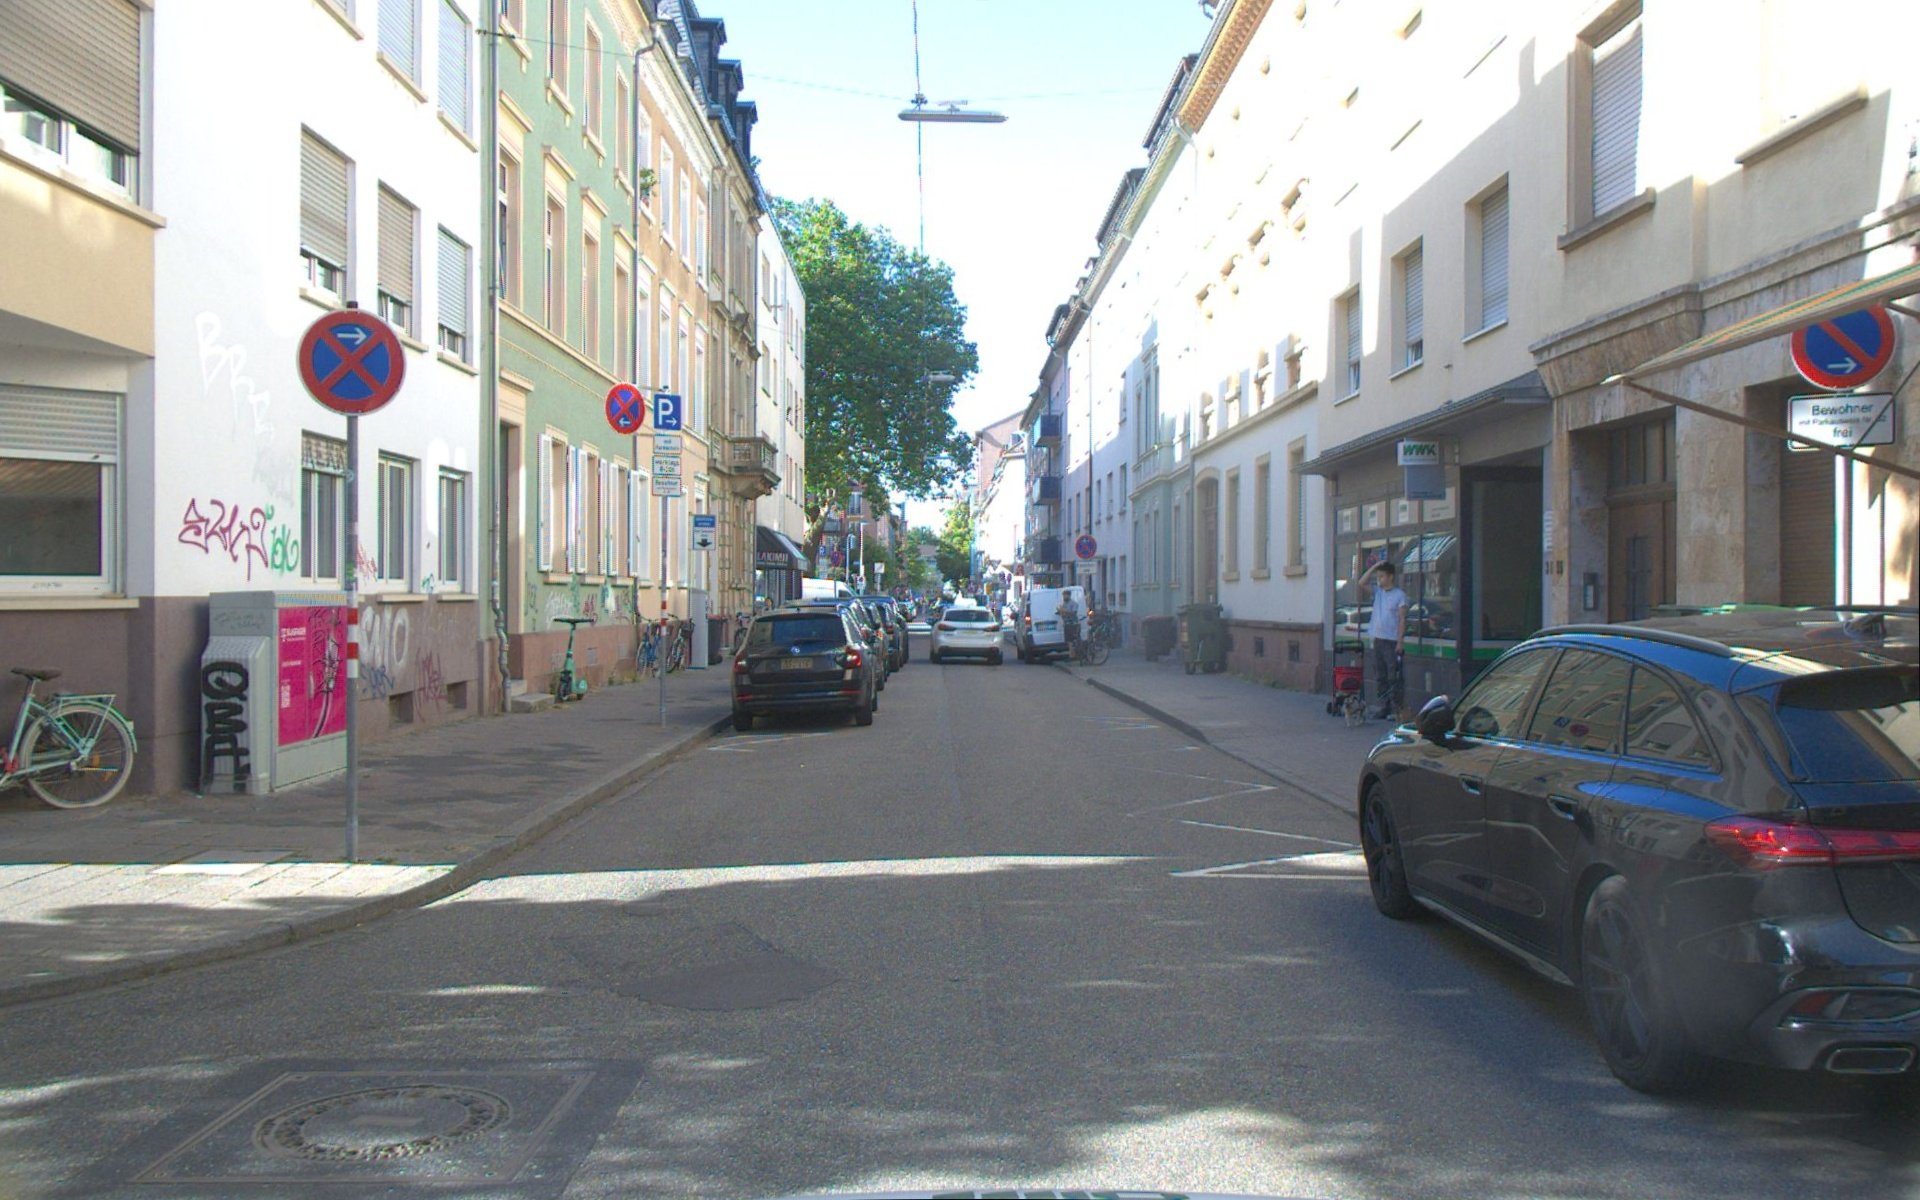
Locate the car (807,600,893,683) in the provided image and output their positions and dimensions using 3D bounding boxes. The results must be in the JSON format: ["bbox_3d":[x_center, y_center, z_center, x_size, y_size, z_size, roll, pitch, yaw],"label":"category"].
[{"bbox_3d":[-2.171,0.792,33.445,1.583,1.581,3.976,0,0,-2],"label":"car"}]

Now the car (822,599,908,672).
[{"bbox_3d":[-2.146,0.784,38.213,1.678,1.558,4.367,-1,0,1],"label":"car"}]

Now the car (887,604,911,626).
[{"bbox_3d":[-4.589,1.134,124.513,1.734,1.616,3.725,0,1,-2],"label":"car"}]

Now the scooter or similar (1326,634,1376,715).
[{"bbox_3d":[4.867,0.921,20.625,0.480,0.961,0.869,-1,1,6],"label":"scooter or similar"}]

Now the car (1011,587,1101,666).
[{"bbox_3d":[2.546,0.671,45.154,1.943,1.916,5.598,-3,0,-1],"label":"car"}]

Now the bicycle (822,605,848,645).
[{"bbox_3d":[-4.430,0.898,58.792,0.455,1.354,1.855,4,-2,7],"label":"bicycle"}]

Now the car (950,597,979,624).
[{"bbox_3d":[0.333,0.817,127.831,1.904,1.982,4.075,1,0,-3],"label":"car"}]

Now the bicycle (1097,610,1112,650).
[{"bbox_3d":[4.569,0.949,52.241,0.428,1.227,2.267,0,-1,6],"label":"bicycle"}]

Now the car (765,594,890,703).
[{"bbox_3d":[-2.130,0.738,27.650,1.708,1.643,4.602,-1,0,0],"label":"car"}]

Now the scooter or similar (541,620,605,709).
[{"bbox_3d":[-5.460,0.891,23.391,0.444,1.202,1.691,0,-1,2],"label":"scooter or similar"}]

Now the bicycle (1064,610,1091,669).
[{"bbox_3d":[2.771,0.917,39.194,0.563,1.344,2.200,-1,0,3],"label":"bicycle"}]

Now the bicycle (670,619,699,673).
[{"bbox_3d":[-5.614,0.932,33.732,0.394,1.074,1.835,0,-1,-4],"label":"bicycle"}]

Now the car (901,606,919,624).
[{"bbox_3d":[-4.716,1.423,156.728,1.540,1.613,3.610,0,-1,0],"label":"car"}]

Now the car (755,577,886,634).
[{"bbox_3d":[-7.341,0.298,87.708,6.601,2.599,2.146,3,-1,1],"label":"car"}]

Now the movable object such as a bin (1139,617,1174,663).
[{"bbox_3d":[4.763,0.959,40.080,0.796,1.107,0.674,0,-1,1],"label":"movable object such as a bin"}]

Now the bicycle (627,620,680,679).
[{"bbox_3d":[-5.620,0.899,30.382,0.353,1.046,1.919,0,-1,8],"label":"bicycle"}]

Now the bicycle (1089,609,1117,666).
[{"bbox_3d":[3.405,0.874,39.529,0.563,1.293,2.200,-2,0,3],"label":"bicycle"}]

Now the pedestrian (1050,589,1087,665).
[{"bbox_3d":[2.721,0.678,41.574,0.848,1.869,0.883,0,-1,-3],"label":"pedestrian"}]

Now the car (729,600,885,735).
[{"bbox_3d":[-1.904,0.802,21.795,1.679,1.514,4.850,-2,0,-2],"label":"car"}]

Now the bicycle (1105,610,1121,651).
[{"bbox_3d":[4.708,0.929,50.908,0.397,1.227,2.160,0,-1,2],"label":"bicycle"}]

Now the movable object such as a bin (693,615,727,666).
[{"bbox_3d":[-5.598,0.904,37.061,0.721,1.108,0.682,0,1,-5],"label":"movable object such as a bin"}]

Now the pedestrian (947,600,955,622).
[{"bbox_3d":[-0.876,1.057,157.796,0.755,2.155,0.834,0,-1,0],"label":"pedestrian"}]

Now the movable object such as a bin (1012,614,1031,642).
[{"bbox_3d":[2.423,1.094,65.096,0.717,1.100,0.703,0,-1,0],"label":"movable object such as a bin"}]

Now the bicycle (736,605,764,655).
[{"bbox_3d":[-5.540,0.790,43.681,0.500,1.299,1.867,0,-1,0],"label":"bicycle"}]

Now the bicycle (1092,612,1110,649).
[{"bbox_3d":[4.540,0.974,53.329,0.556,1.174,1.869,0,-1,4],"label":"bicycle"}]

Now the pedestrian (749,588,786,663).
[{"bbox_3d":[-4.596,0.604,39.531,0.749,1.744,0.883,2,0,-2],"label":"pedestrian"}]

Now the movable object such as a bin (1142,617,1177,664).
[{"bbox_3d":[4.751,0.968,39.408,0.780,1.115,0.642,0,-1,1],"label":"movable object such as a bin"}]

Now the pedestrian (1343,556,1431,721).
[{"bbox_3d":[5.072,0.446,19.669,0.639,1.892,0.743,-2,0,-23],"label":"pedestrian"}]

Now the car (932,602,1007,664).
[{"bbox_3d":[0.204,0.823,42.641,1.787,1.540,3.822,0,0,-2],"label":"car"}]

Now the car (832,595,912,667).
[{"bbox_3d":[-2.269,0.778,43.729,1.897,1.766,5.141,-1,0,-1],"label":"car"}]

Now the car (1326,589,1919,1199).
[{"bbox_3d":[2.963,0.805,6.758,1.764,1.606,4.896,1,0,-1],"label":"car"}]

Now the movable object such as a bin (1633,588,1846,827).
[{"bbox_3d":[5.145,0.672,11.012,0.731,1.461,1.372,-2,0,1],"label":"movable object such as a bin"}]

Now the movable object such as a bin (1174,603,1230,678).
[{"bbox_3d":[4.790,0.814,32.816,0.820,1.414,1.296,-2,-2,-2],"label":"movable object such as a bin"}]

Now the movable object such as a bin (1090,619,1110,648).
[{"bbox_3d":[4.619,1.096,54.598,0.565,0.941,0.607,-2,-1,-1],"label":"movable object such as a bin"}]

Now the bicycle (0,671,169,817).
[{"bbox_3d":[-6.147,0.946,10.999,0.423,0.897,1.562,2,0,38],"label":"bicycle"}]
